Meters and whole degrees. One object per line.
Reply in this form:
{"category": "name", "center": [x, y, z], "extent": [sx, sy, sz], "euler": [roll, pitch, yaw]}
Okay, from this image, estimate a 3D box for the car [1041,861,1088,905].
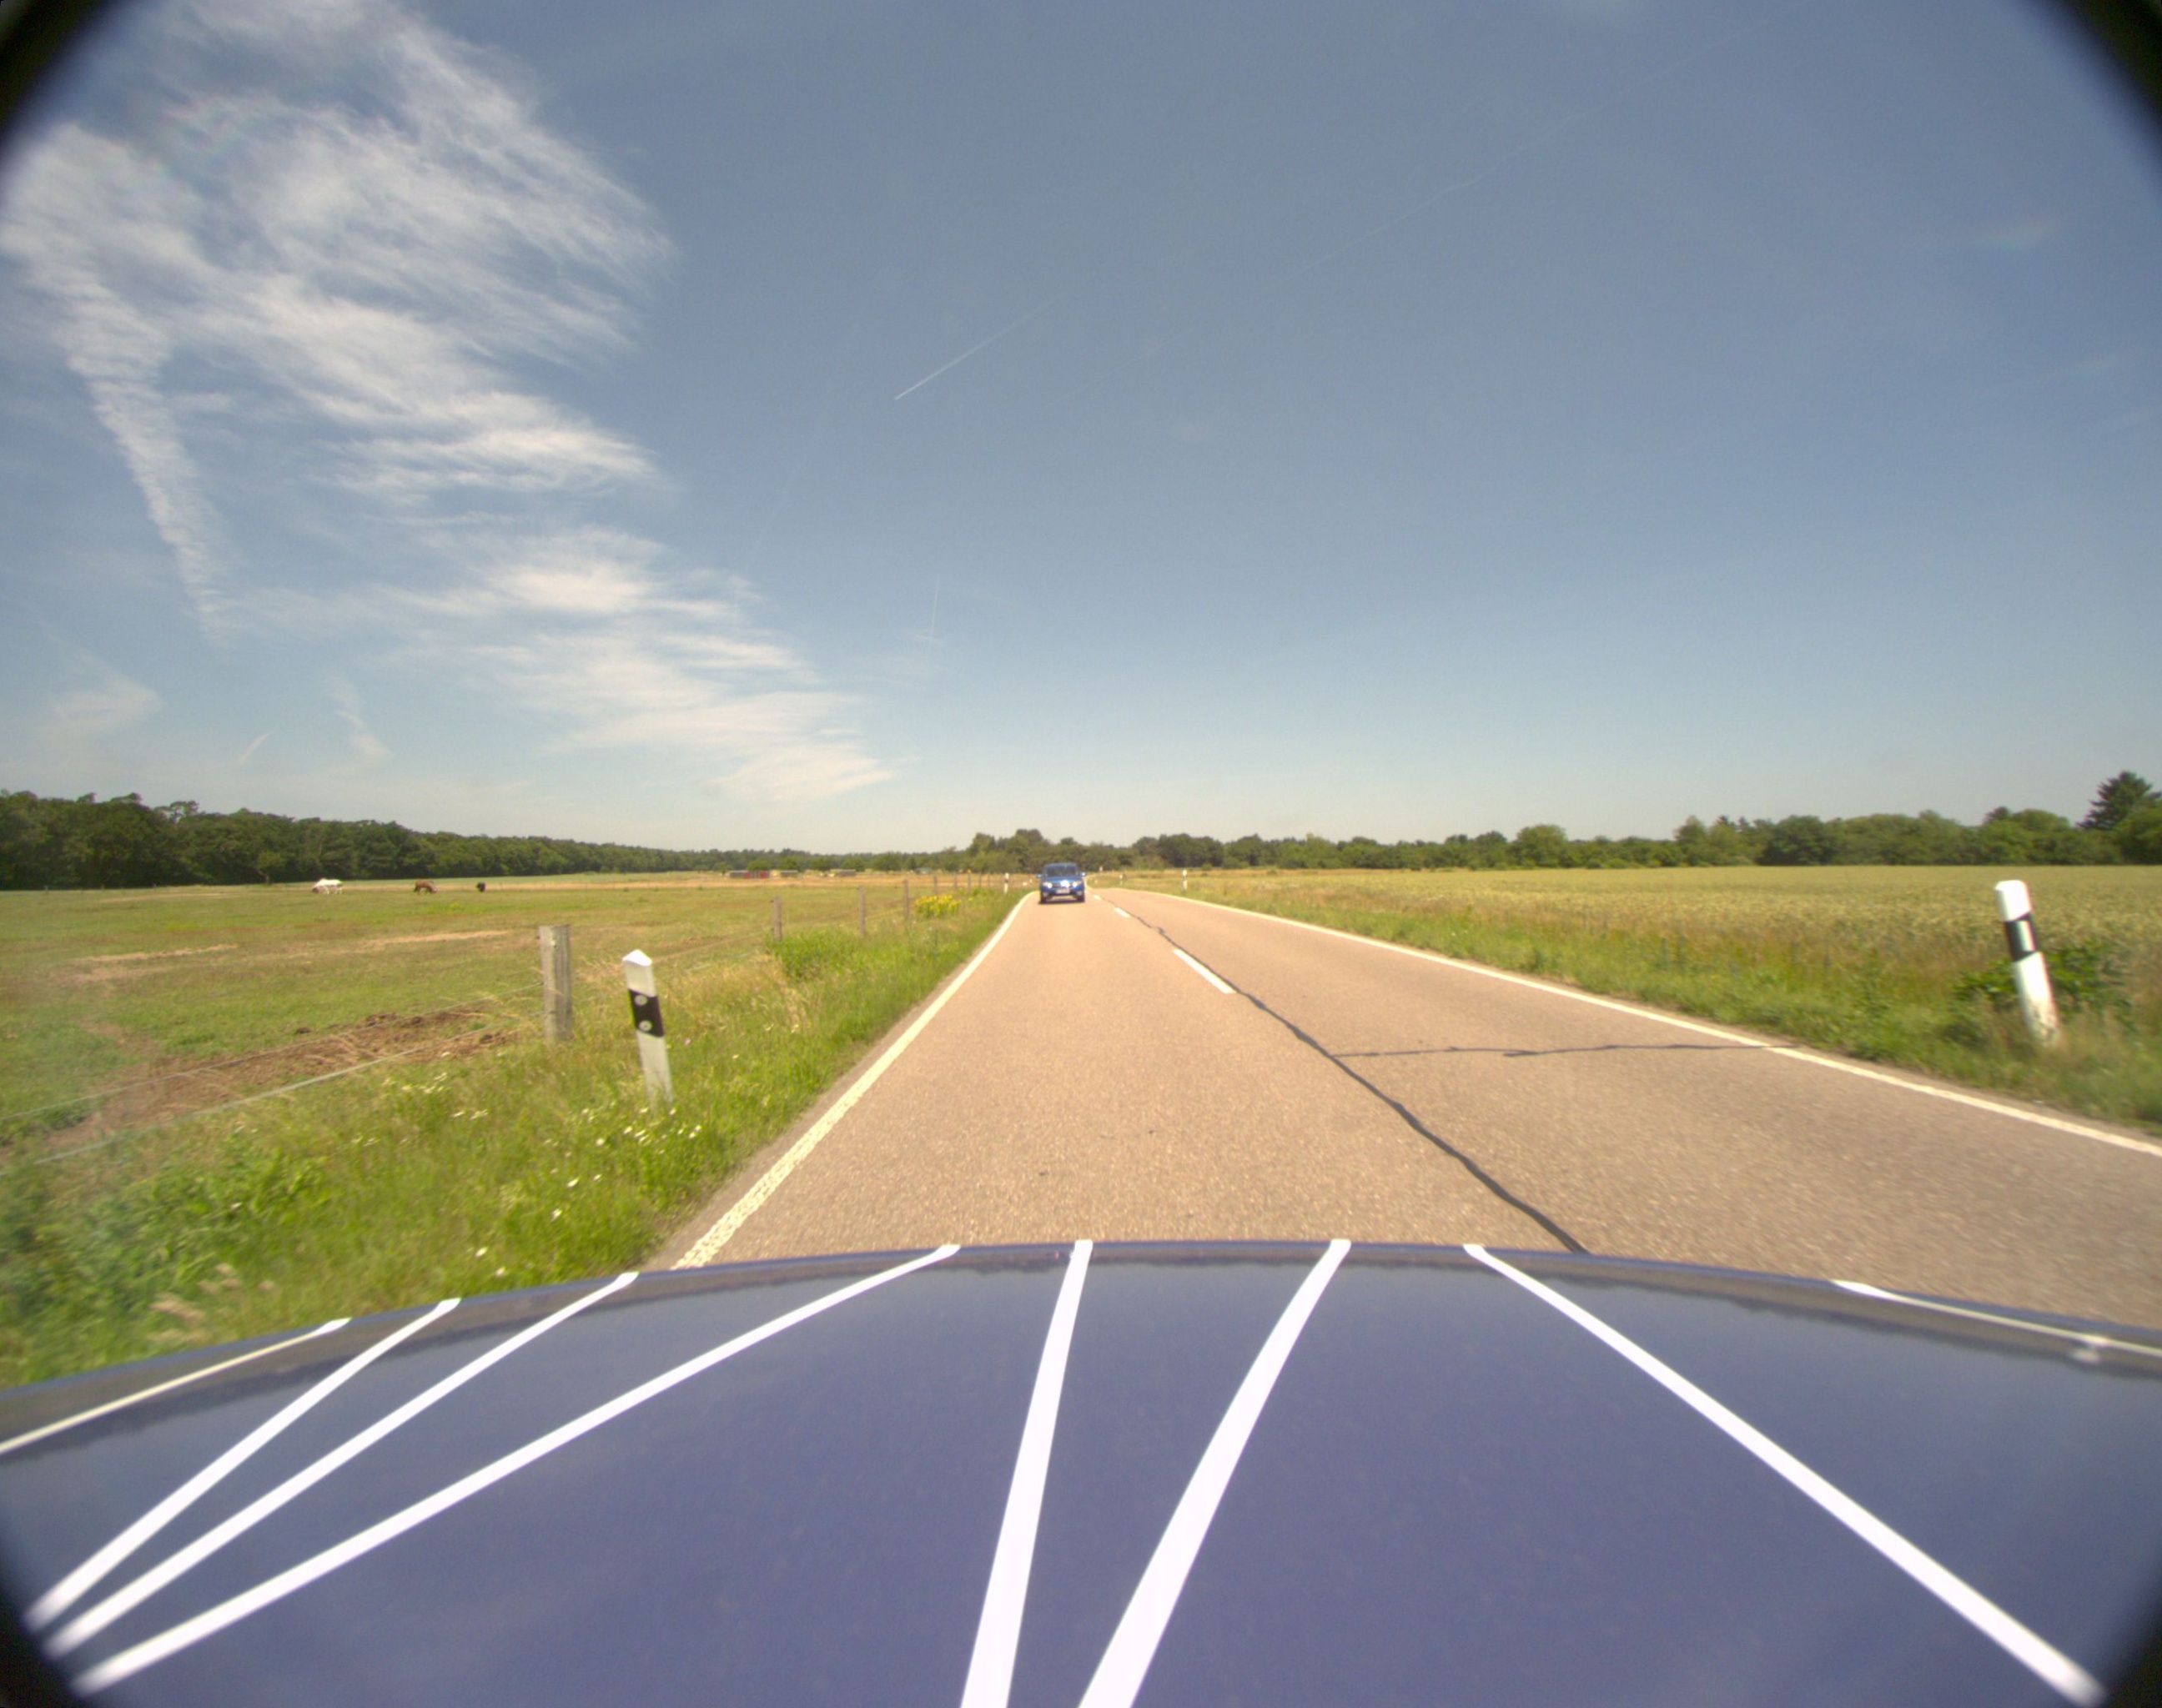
{"category": "car", "center": [-0.656, 1.114, 30.678], "extent": [1.734, 1.572, 4.000], "euler": [-2, 0, -1]}
